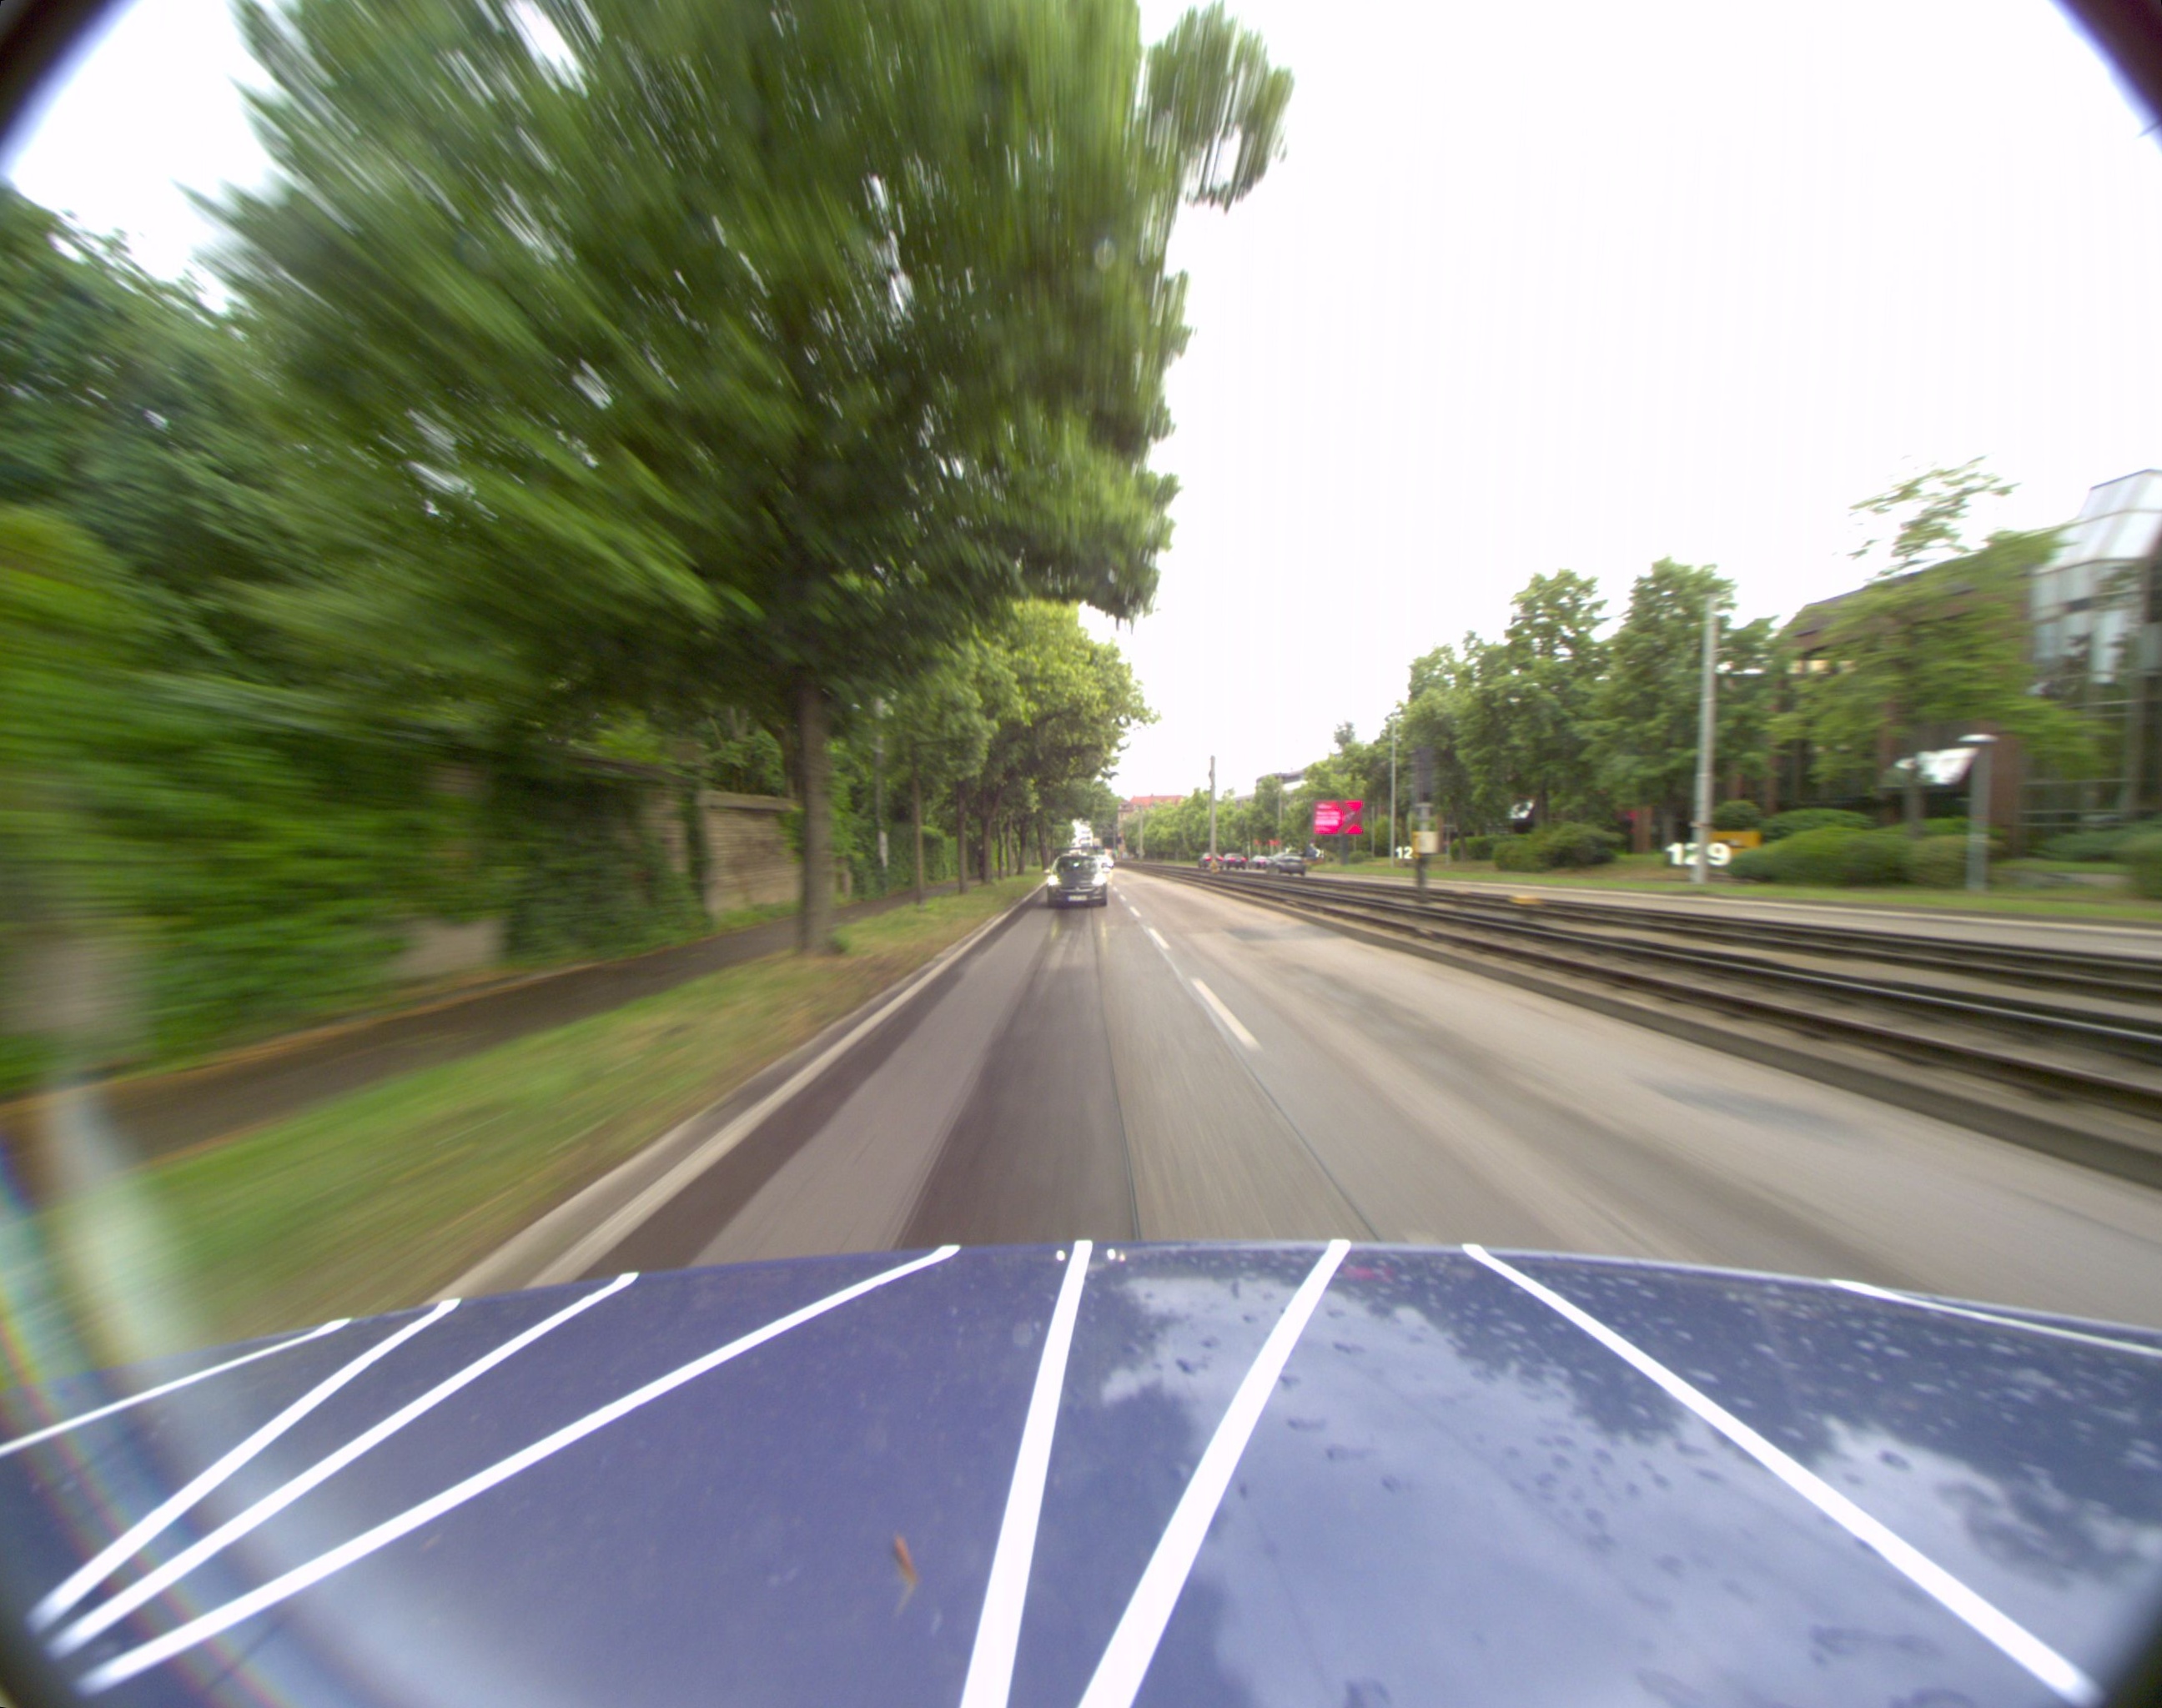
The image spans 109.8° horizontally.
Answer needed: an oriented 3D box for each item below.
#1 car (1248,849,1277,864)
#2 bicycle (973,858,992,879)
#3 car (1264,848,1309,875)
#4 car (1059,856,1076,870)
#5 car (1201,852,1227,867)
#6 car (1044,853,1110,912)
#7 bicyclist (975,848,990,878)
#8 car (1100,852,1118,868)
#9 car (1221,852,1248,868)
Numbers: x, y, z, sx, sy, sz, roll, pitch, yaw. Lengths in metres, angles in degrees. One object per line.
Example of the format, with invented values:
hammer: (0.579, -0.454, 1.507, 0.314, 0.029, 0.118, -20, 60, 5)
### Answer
car: (18.858, 0.226, 79.068, 1.958, 1.493, 4.340, -1, 0, -1)
bicycle: (-5.529, 0.798, 42.740, 0.709, 1.143, 2.105, -1, 0, 1)
car: (13.136, 0.454, 48.822, 1.692, 1.628, 4.340, -1, 0, -1)
car: (-1.547, 0.996, 87.459, 1.769, 1.502, 4.339, -1, 0, -4)
car: (12.864, 0.540, 73.715, 1.692, 1.385, 4.340, -1, 0, -1)
car: (-0.073, 0.786, 23.098, 1.746, 1.544, 4.493, -2, 0, 1)
bicyclist: (-5.537, 0.500, 42.730, 0.692, 1.717, 0.894, -1, 1, 1)
car: (2.795, 0.579, 76.763, 1.768, 1.502, 4.341, -1, 0, 2)
car: (15.600, 0.581, 77.399, 1.769, 1.502, 4.340, -1, 0, -1)
